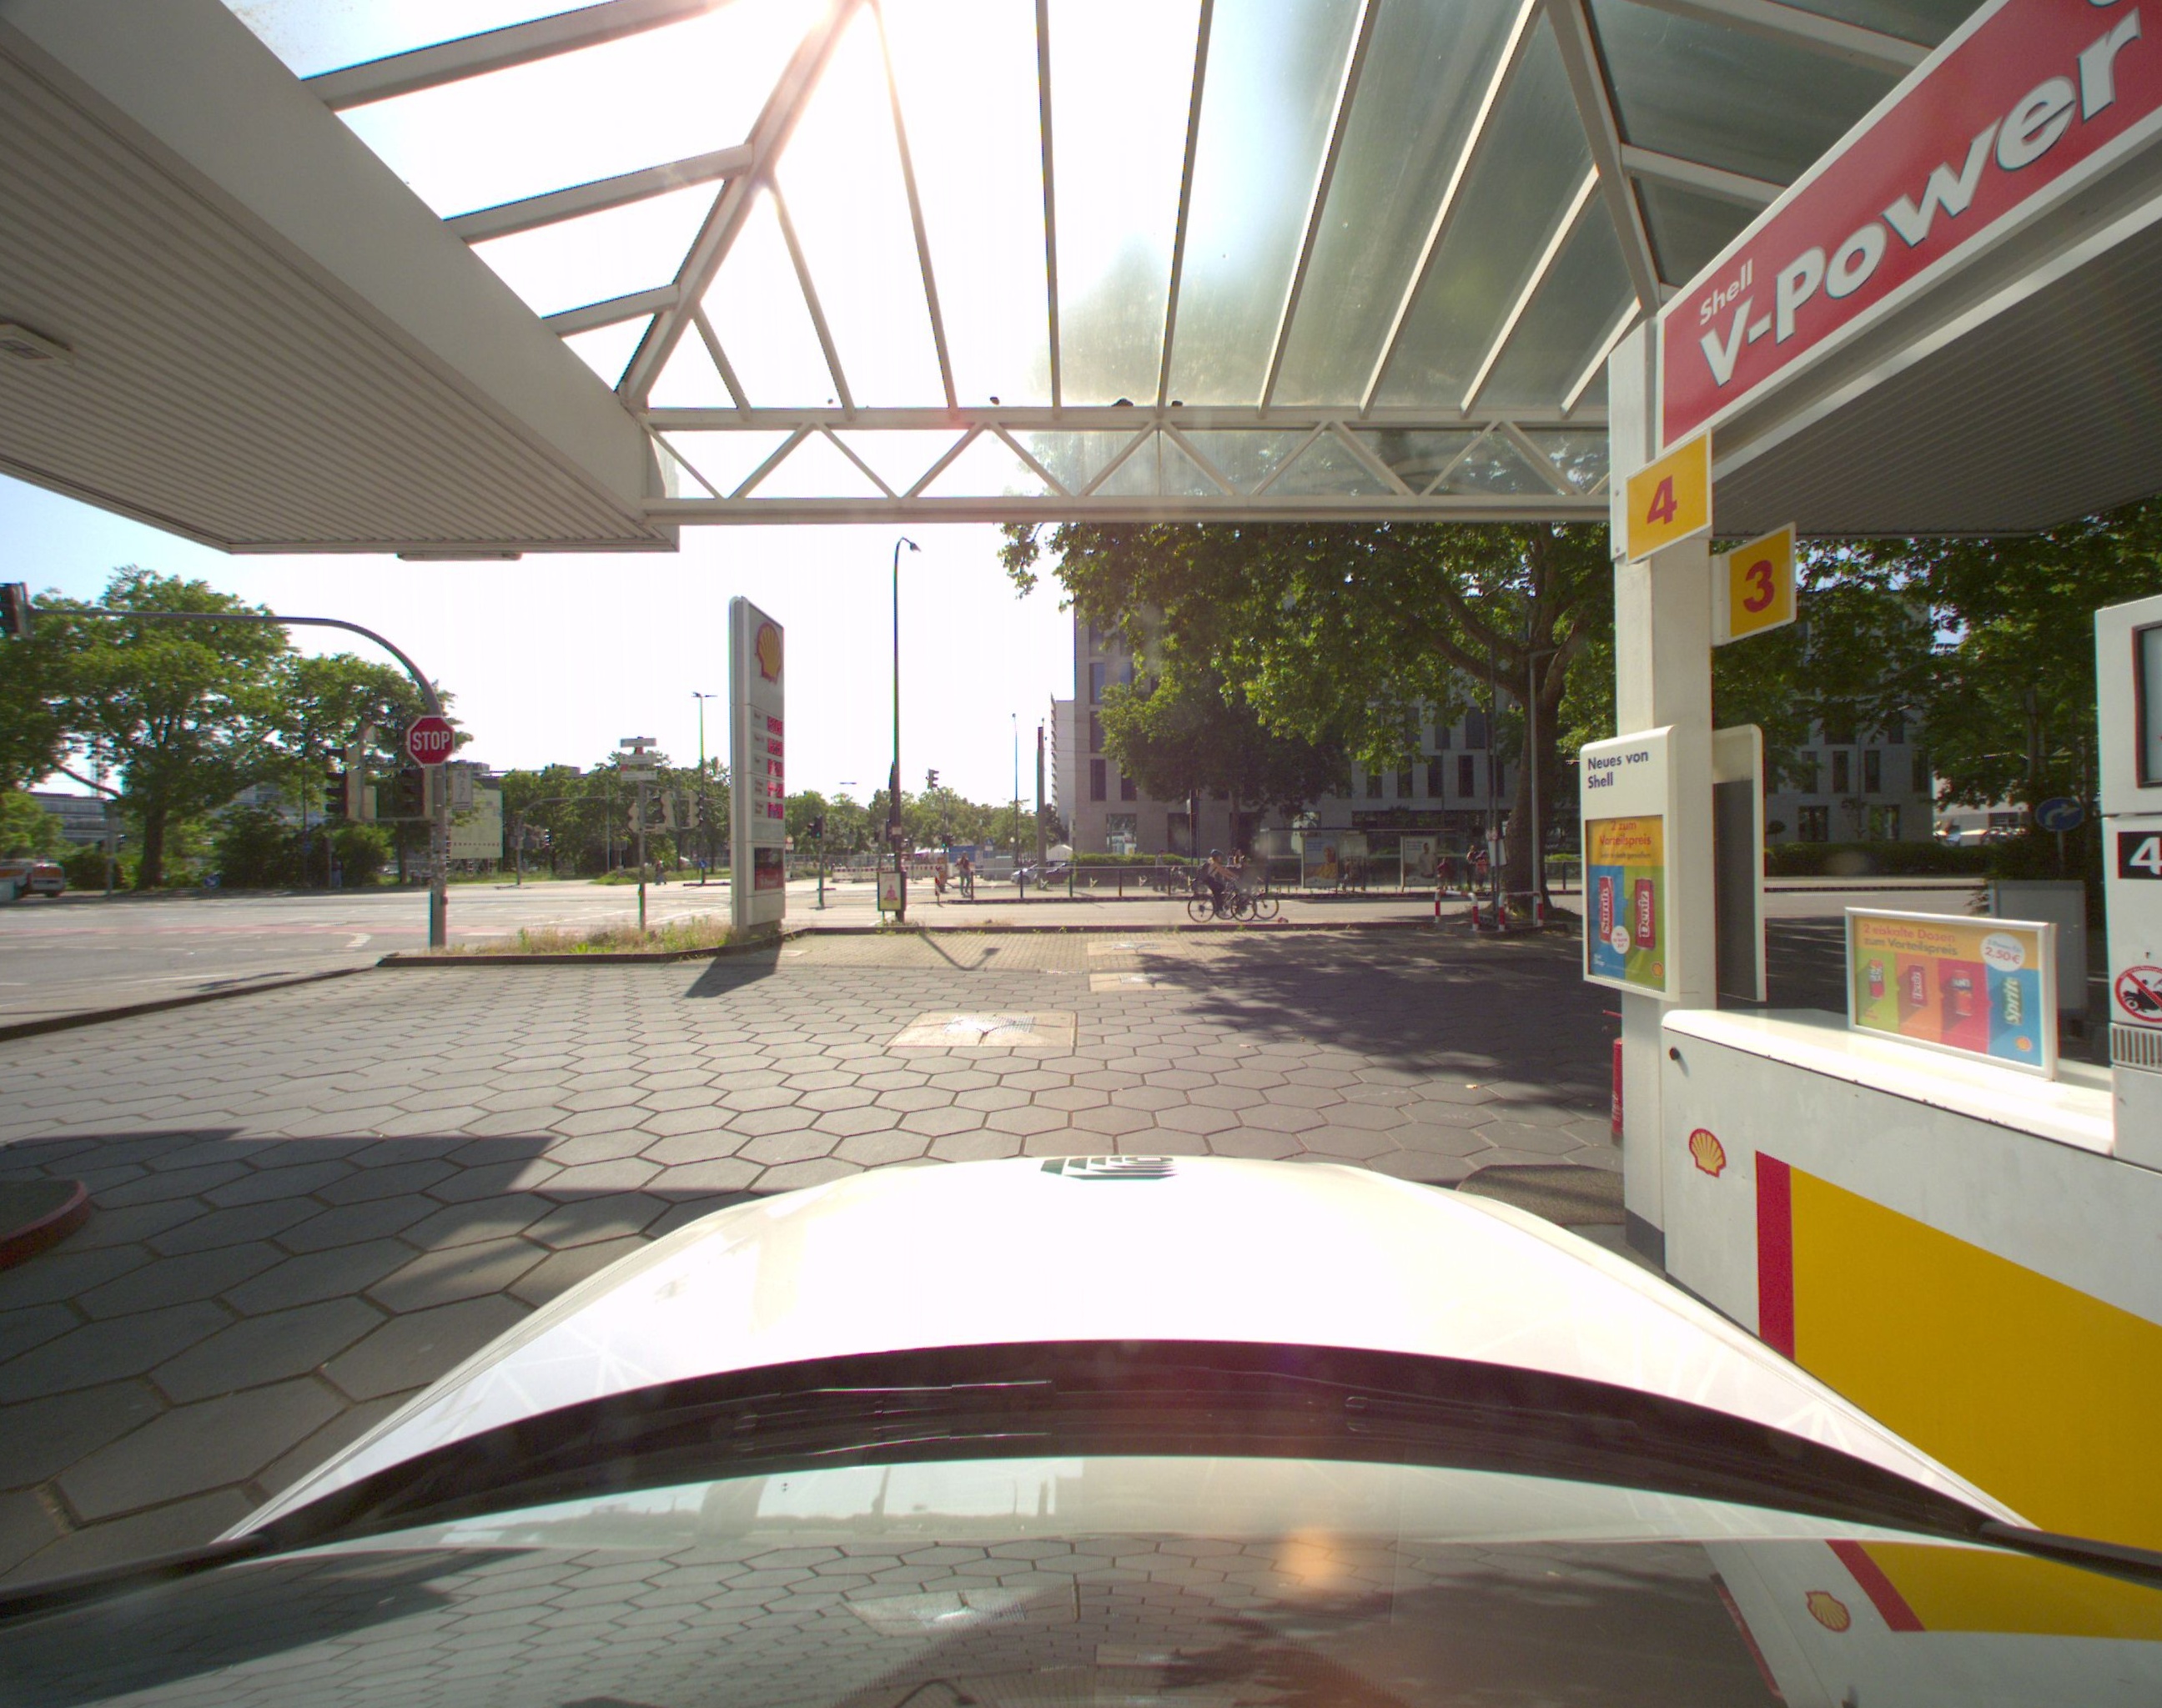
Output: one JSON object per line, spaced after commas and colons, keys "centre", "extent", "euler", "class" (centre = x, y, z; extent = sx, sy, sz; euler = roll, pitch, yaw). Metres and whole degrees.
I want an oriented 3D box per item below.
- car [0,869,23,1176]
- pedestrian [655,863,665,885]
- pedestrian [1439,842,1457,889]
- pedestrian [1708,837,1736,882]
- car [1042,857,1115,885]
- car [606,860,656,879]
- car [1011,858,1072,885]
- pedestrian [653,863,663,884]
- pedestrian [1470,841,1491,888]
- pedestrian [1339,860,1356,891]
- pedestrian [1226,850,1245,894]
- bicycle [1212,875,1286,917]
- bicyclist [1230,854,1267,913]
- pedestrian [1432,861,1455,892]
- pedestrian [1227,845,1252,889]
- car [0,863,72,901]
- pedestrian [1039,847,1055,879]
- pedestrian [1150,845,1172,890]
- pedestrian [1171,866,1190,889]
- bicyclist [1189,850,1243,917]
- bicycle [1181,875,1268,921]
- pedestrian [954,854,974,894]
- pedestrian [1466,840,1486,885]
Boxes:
{"centre": [-6.276, 0.853, 2.140], "extent": [1.738, 1.532, 3.999], "euler": [-2, -1, 0], "class": "car"}
{"centre": [-29.309, 1.383, 56.720], "extent": [0.566, 1.469, 0.509], "euler": [-1, 0, -25], "class": "pedestrian"}
{"centre": [13.641, 0.424, 30.280], "extent": [0.497, 1.736, 0.406], "euler": [-1, -1, 2], "class": "pedestrian"}
{"centre": [24.869, 0.227, 31.613], "extent": [0.689, 1.735, 0.505], "euler": [-1, 0, 15], "class": "pedestrian"}
{"centre": [-0.172, 0.955, 46.579], "extent": [3.981, 1.552, 1.700], "euler": [-1, 0, -6], "class": "car"}
{"centre": [-46.051, 1.586, 83.416], "extent": [3.969, 1.816, 2.002], "euler": [-3, -1, 4], "class": "car"}
{"centre": [-2.420, 1.041, 49.569], "extent": [3.677, 1.552, 1.589], "euler": [-1, 0, -6], "class": "car"}
{"centre": [-29.963, 1.399, 57.678], "extent": [0.566, 1.469, 0.509], "euler": [-1, 0, -25], "class": "pedestrian"}
{"centre": [14.806, 0.395, 30.187], "extent": [0.497, 1.735, 0.524], "euler": [-1, 0, 2], "class": "pedestrian"}
{"centre": [9.862, 0.803, 30.172], "extent": [0.496, 1.138, 0.525], "euler": [-1, 0, 6], "class": "pedestrian"}
{"centre": [5.686, 0.648, 29.974], "extent": [0.582, 1.591, 0.670], "euler": [-1, 1, -1], "class": "pedestrian"}
{"centre": [4.450, 1.107, 21.672], "extent": [1.856, 1.082, 0.524], "euler": [-1, 0, -2], "class": "bicycle"}
{"centre": [4.451, 0.790, 21.691], "extent": [0.860, 1.544, 0.534], "euler": [0, -1, -1], "class": "bicyclist"}
{"centre": [13.474, 0.824, 30.288], "extent": [0.625, 1.138, 0.525], "euler": [-1, 0, 6], "class": "pedestrian"}
{"centre": [6.084, 0.503, 31.270], "extent": [0.926, 1.683, 0.504], "euler": [-1, 0, 9], "class": "pedestrian"}
{"centre": [-59.784, 1.591, 45.345], "extent": [4.422, 2.014, 1.998], "euler": [-3, -1, -3], "class": "car"}
{"centre": [-2.422, 0.619, 58.400], "extent": [1.105, 2.248, 1.102], "euler": [-1, 0, 0], "class": "pedestrian"}
{"centre": [3.090, 0.514, 31.402], "extent": [0.772, 1.683, 0.504], "euler": [-1, 0, 9], "class": "pedestrian"}
{"centre": [3.818, 0.902, 31.292], "extent": [0.686, 0.880, 0.504], "euler": [-1, 0, 8], "class": "pedestrian"}
{"centre": [3.296, 0.712, 19.957], "extent": [1.168, 1.580, 0.638], "euler": [-1, 0, -6], "class": "bicyclist"}
{"centre": [3.511, 1.067, 19.995], "extent": [2.016, 1.082, 0.638], "euler": [-1, 0, -6], "class": "bicycle"}
{"centre": [-4.549, 0.756, 31.642], "extent": [0.646, 1.540, 0.504], "euler": [-1, 0, 9], "class": "pedestrian"}
{"centre": [15.363, 0.320, 31.673], "extent": [0.497, 1.735, 0.524], "euler": [-1, 0, 2], "class": "pedestrian"}
